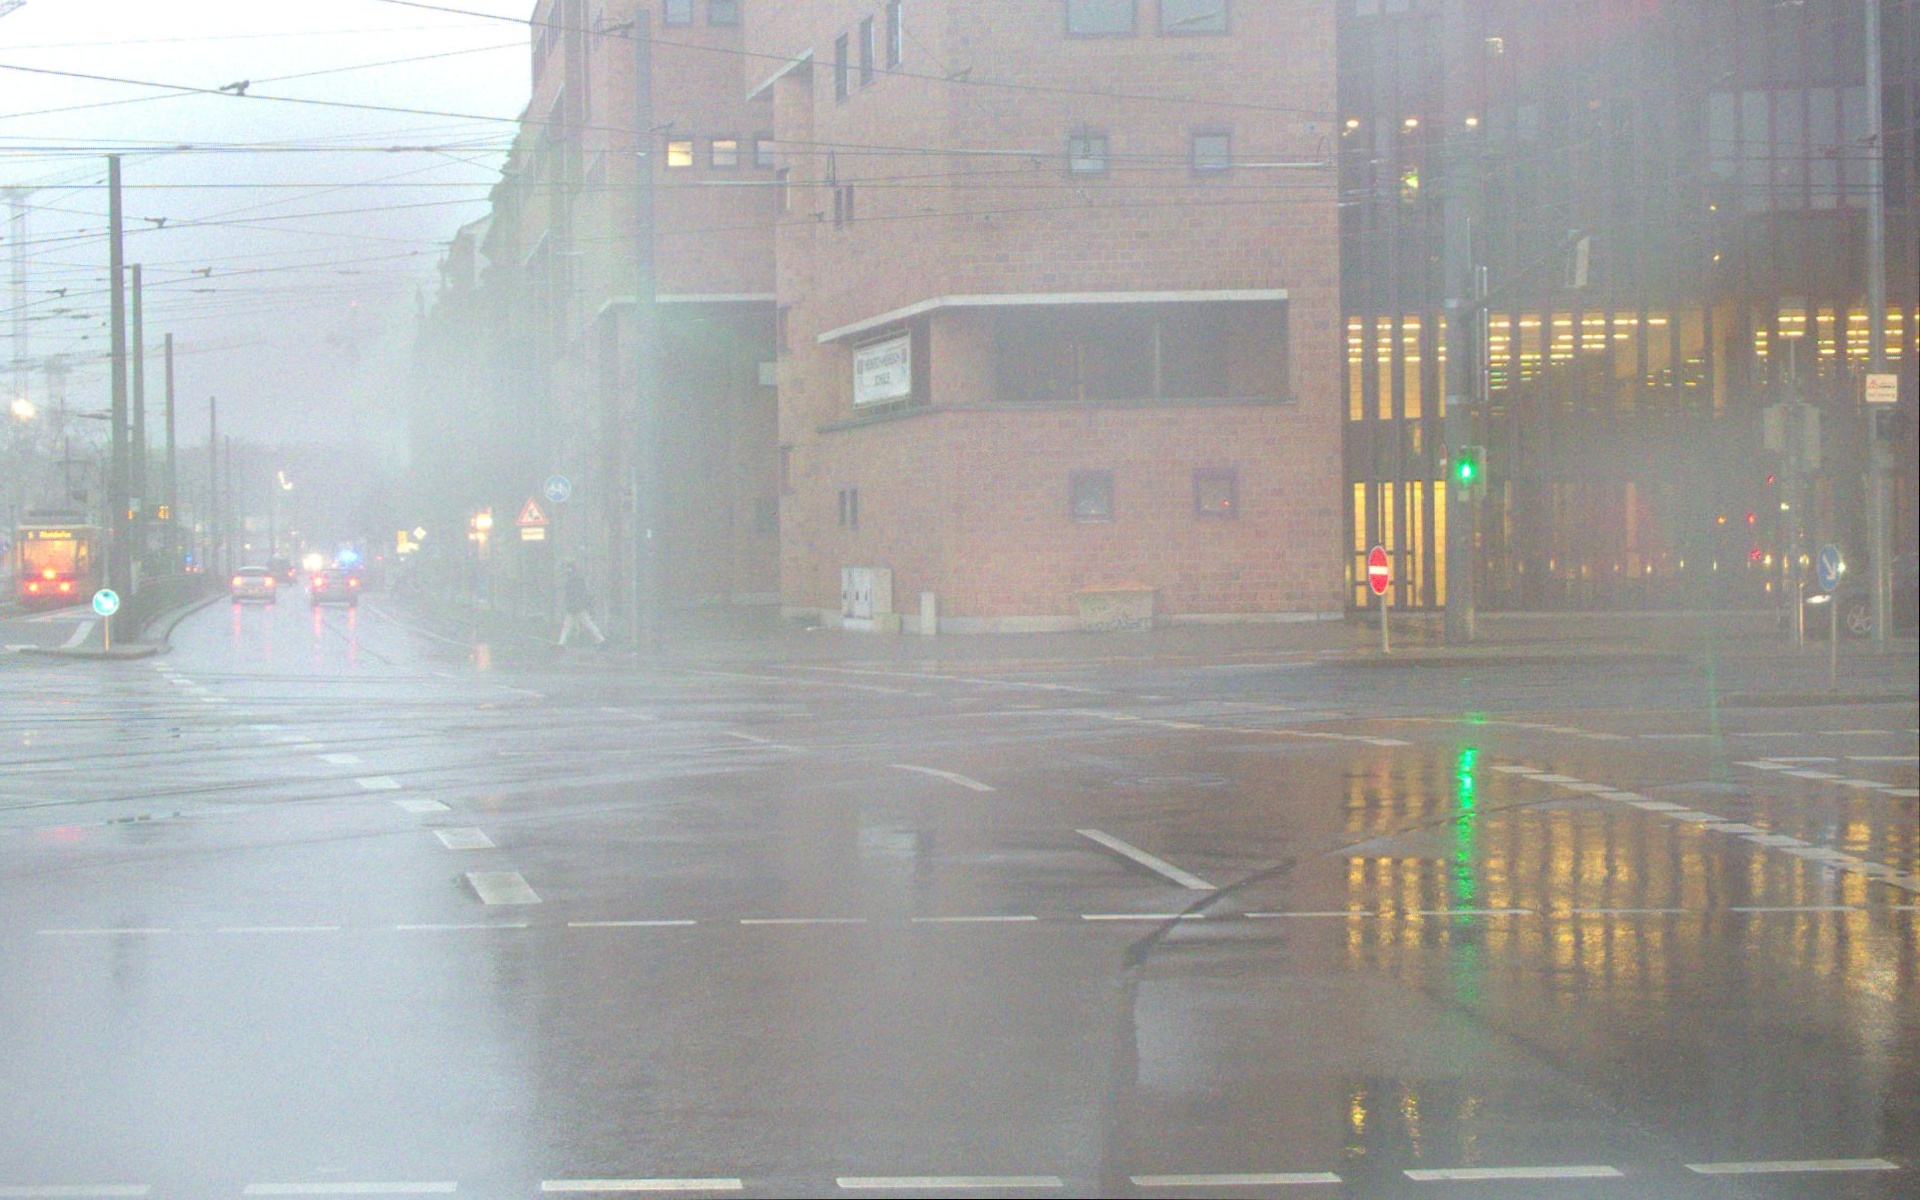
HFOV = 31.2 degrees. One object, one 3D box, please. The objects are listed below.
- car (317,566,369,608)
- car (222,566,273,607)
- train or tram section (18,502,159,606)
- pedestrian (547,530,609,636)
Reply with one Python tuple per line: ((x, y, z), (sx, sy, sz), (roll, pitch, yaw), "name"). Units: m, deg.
((-24.403, -0.520, 136.134), (1.870, 1.573, 4.001), (1, 1, -8), "car")
((-29.015, -0.558, 140.095), (1.870, 1.573, 4.001), (1, 1, -10), "car")
((-32.541, -1.725, 129.537), (3.190, 3.424, 27.839), (-1, 1, -10), "train or tram section")
((-7.312, -0.329, 65.761), (1.068, 2.007, 0.685), (-1, 1, -13), "pedestrian")
